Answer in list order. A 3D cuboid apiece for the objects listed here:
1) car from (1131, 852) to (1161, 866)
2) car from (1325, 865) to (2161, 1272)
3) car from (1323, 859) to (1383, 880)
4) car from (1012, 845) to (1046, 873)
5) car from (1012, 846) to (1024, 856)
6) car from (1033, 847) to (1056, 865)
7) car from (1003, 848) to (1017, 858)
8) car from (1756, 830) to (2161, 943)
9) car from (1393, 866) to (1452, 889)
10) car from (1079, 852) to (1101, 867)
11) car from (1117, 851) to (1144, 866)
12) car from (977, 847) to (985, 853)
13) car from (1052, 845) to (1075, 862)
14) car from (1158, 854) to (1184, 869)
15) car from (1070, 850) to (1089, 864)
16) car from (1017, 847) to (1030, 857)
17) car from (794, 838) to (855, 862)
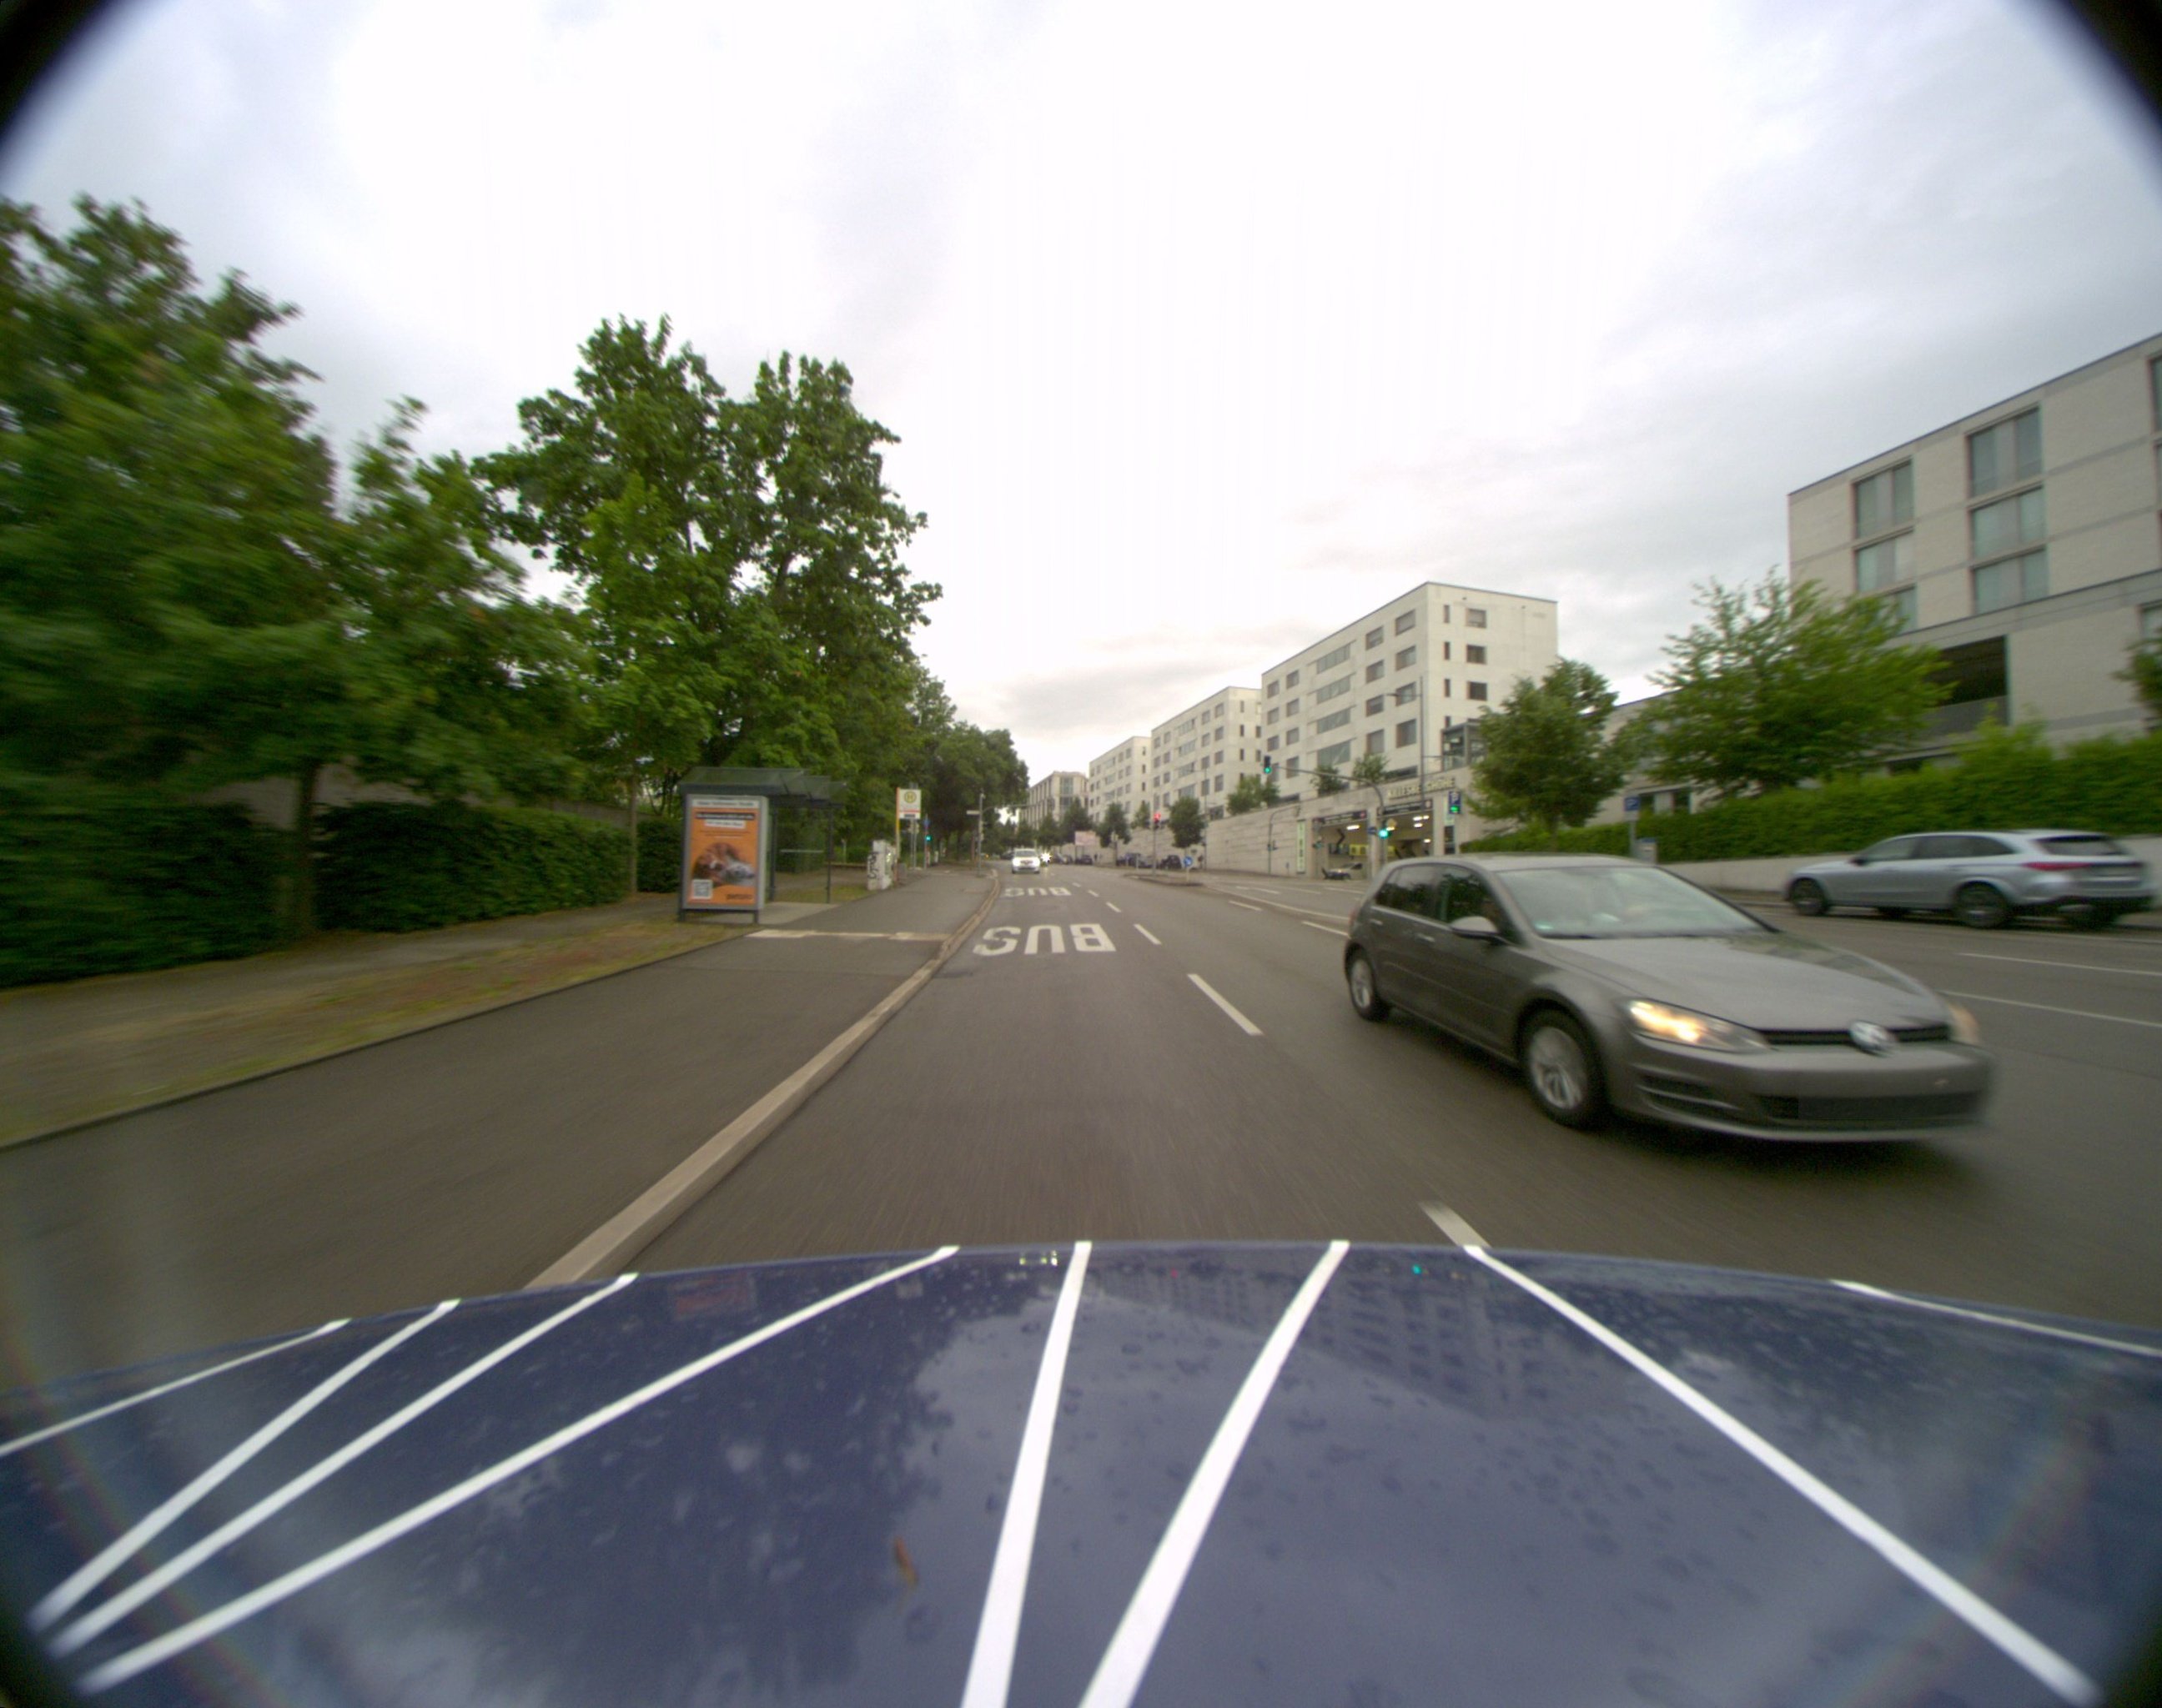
[{"bbox_3d":[7.113,0.516,83.787,1.865,1.469,3.994,0,0,-18],"label":"car"},{"bbox_3d":[3.294,0.831,5.001,1.876,1.433,4.295,0,0,-2],"label":"car"},{"bbox_3d":[22.237,1.259,62.158,4.350,1.642,1.997,1,0,-18],"label":"car"},{"bbox_3d":[-3.326,0.325,47.891,1.928,1.652,3.998,0,-1,-7],"label":"car"},{"bbox_3d":[-13.361,-0.592,160.963,1.926,2.001,4.381,-1,-1,-14],"label":"car"},{"bbox_3d":[-3.446,0.224,73.013,1.829,1.584,4.001,-2,-1,2],"label":"car"},{"bbox_3d":[-13.989,-0.173,150.139,2.001,2.002,3.994,1,0,-15],"label":"car"},{"bbox_3d":[15.306,0.485,13.777,1.768,1.644,4.883,-2,0,0],"label":"car"},{"bbox_3d":[26.954,1.838,59.967,4.002,1.761,1.798,1,0,-14],"label":"car"},{"bbox_3d":[1.216,0.758,105.756,1.926,2.001,4.381,-1,-1,-14],"label":"car"},{"bbox_3d":[5.706,0.480,88.363,1.792,1.622,3.993,1,0,-17],"label":"car"},{"bbox_3d":[-28.294,-1.154,215.152,2.001,1.739,3.996,0,0,-12],"label":"car"},{"bbox_3d":[-2.162,-0.085,94.164,1.926,2.001,4.381,-1,-1,-14],"label":"car"},{"bbox_3d":[9.249,0.794,78.362,1.683,1.450,2.692,1,0,-18],"label":"car"},{"bbox_3d":[-0.201,0.504,116.545,1.926,2.001,4.381,-1,-1,-14],"label":"car"},{"bbox_3d":[-11.594,-0.428,153.516,1.926,2.001,4.381,-1,-1,-14],"label":"car"},{"bbox_3d":[-17.937,-0.266,53.102,3.909,1.538,1.878,1,0,-23],"label":"car"}]
